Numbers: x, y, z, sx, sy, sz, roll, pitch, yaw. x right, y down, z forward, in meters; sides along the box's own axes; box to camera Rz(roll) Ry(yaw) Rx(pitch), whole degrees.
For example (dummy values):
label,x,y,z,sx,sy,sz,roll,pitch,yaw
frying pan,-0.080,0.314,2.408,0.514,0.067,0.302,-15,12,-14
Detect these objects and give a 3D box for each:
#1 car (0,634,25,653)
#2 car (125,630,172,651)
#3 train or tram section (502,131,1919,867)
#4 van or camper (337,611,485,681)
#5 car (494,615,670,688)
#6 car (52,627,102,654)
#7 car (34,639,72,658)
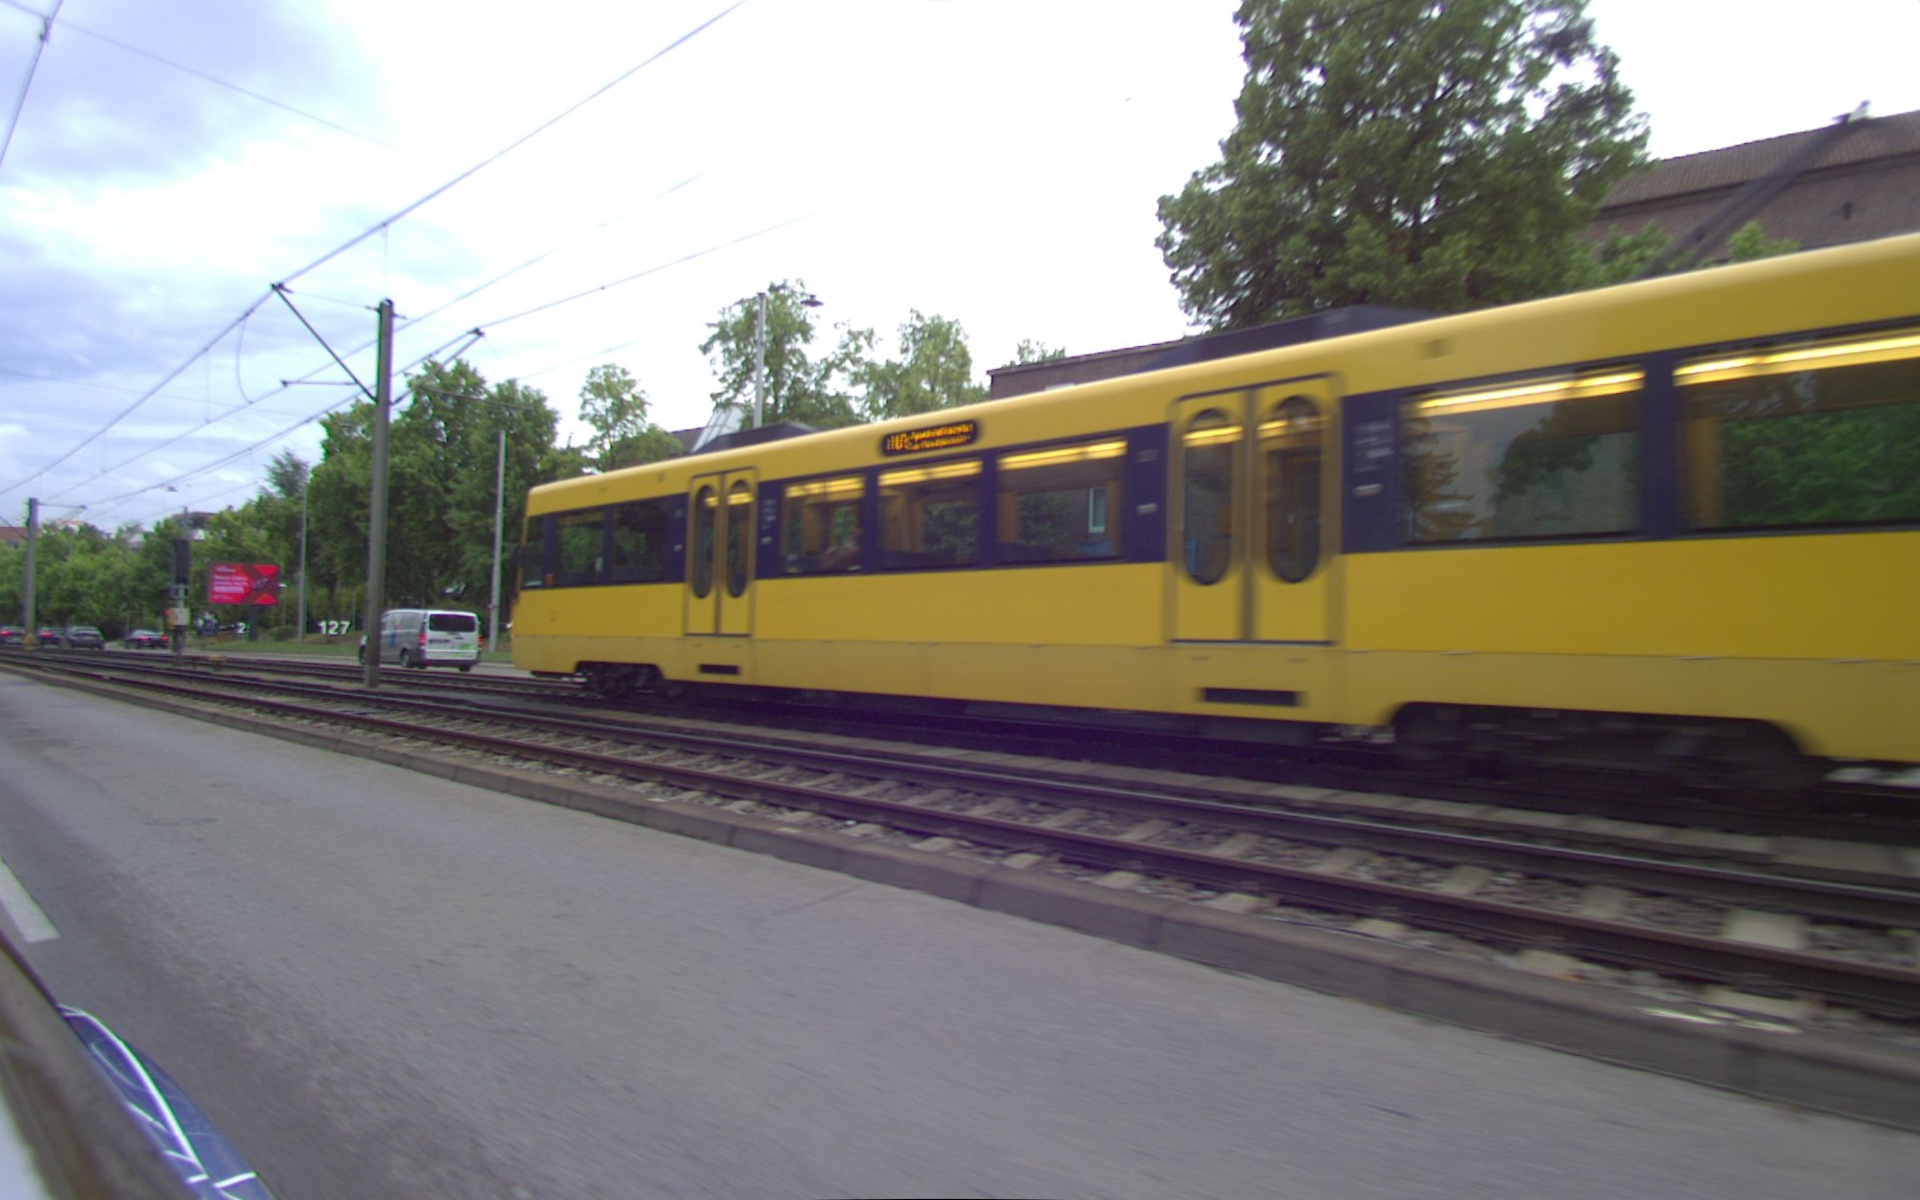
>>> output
label,x,y,z,sx,sy,sz,roll,pitch,yaw
car,-75.212,3.402,79.792,4.337,1.404,1.670,-2,-3,40
car,-62.133,3.088,77.475,4.337,1.513,1.933,-2,-3,40
train or tram section,0.906,-0.378,11.142,20.018,4.006,2.798,-2,-3,41
van or camper,-16.874,1.384,30.971,5.686,1.974,1.895,-2,-2,38
car,-8.860,1.169,23.570,4.499,1.544,1.769,-2,-2,39
car,-55.616,2.546,63.724,4.337,1.650,1.670,-2,-3,40
car,-75.621,4.007,84.331,4.337,1.523,1.747,-2,-3,40
